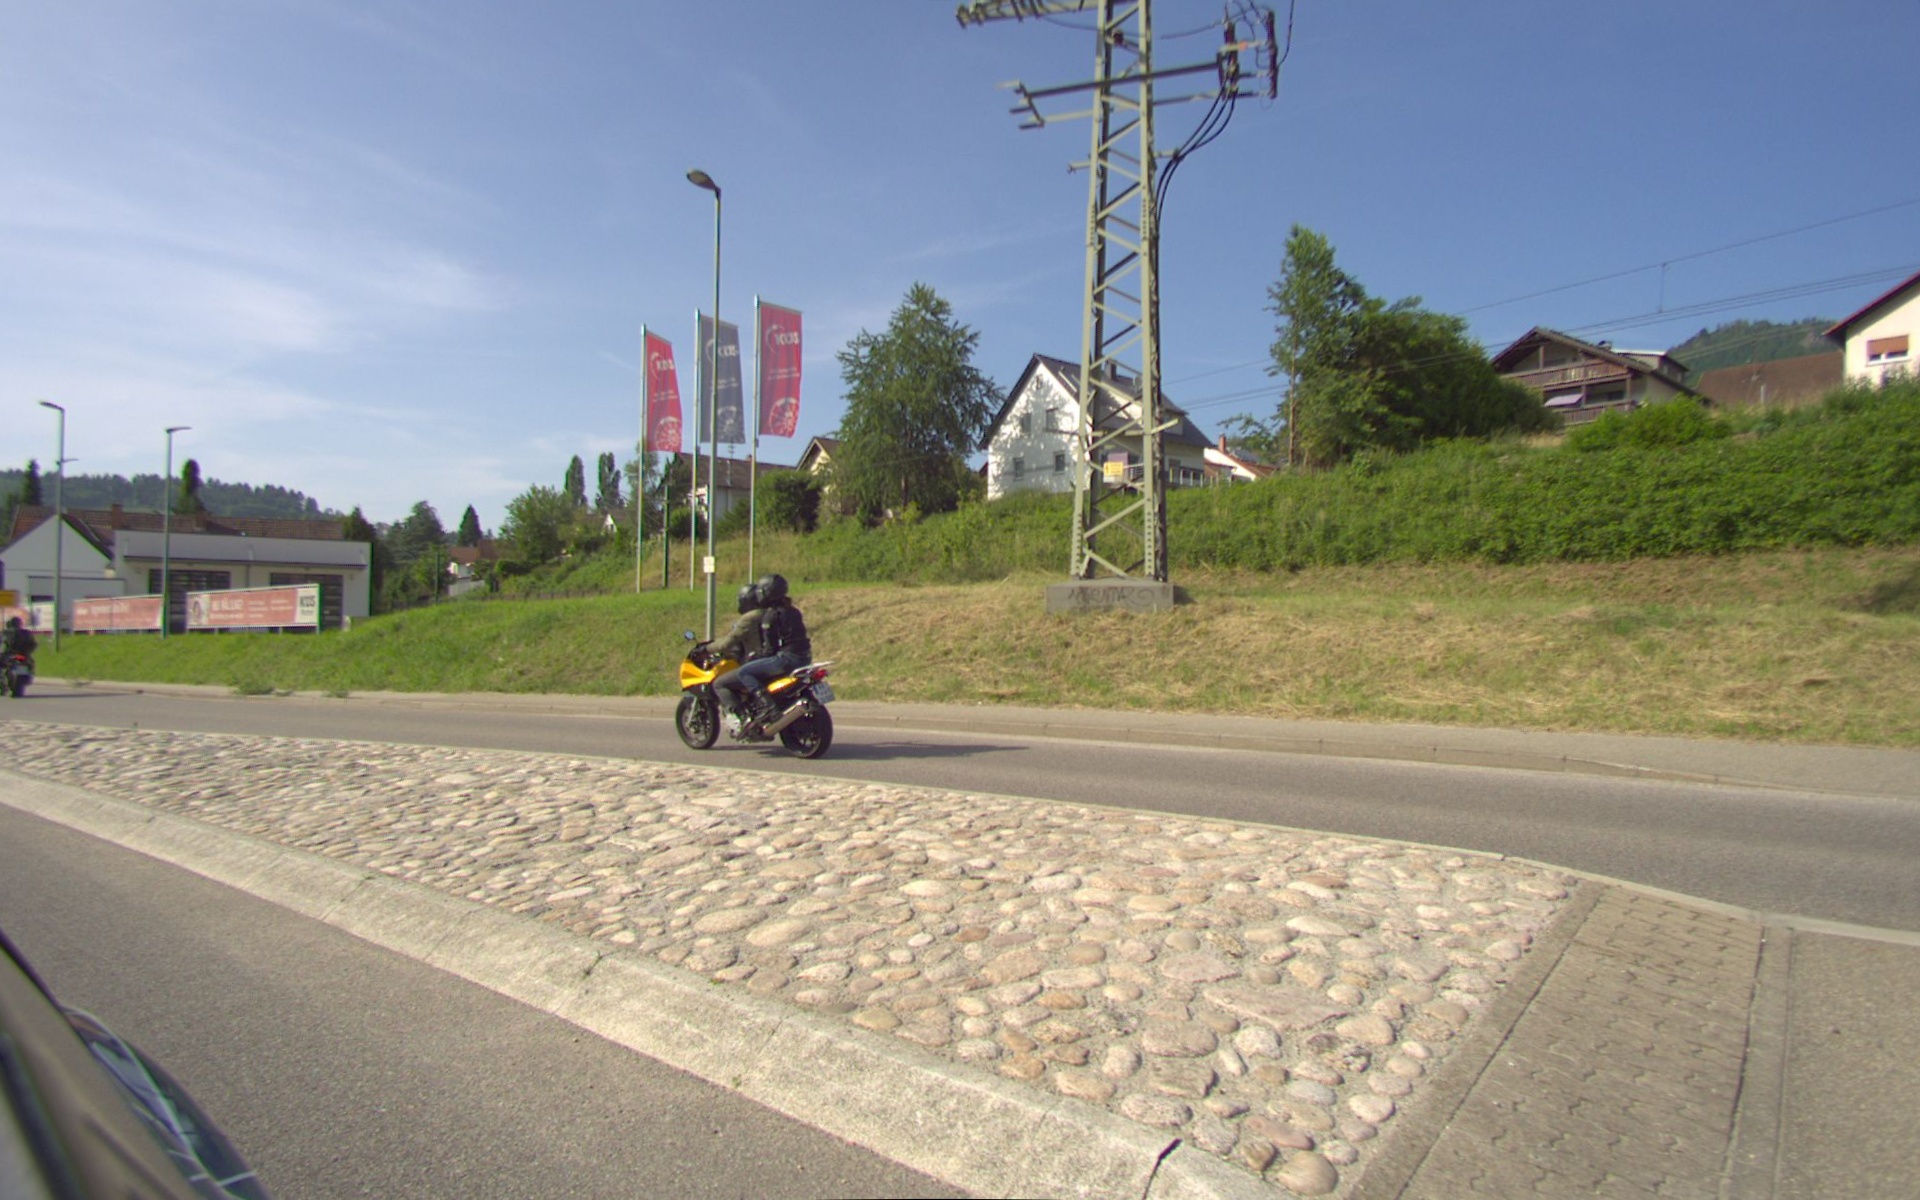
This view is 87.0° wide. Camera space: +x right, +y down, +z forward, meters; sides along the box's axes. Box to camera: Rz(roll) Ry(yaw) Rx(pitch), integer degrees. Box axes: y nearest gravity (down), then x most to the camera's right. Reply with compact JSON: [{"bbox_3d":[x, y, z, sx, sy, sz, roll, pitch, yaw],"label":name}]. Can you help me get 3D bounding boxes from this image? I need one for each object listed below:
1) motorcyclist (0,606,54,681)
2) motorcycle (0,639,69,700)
[{"bbox_3d":[-19.817,0.921,21.250,0.843,1.530,0.900,-2,-3,26],"label":"motorcyclist"},{"bbox_3d":[-19.817,1.435,21.229,2.293,1.192,0.889,-1,-2,27],"label":"motorcycle"}]
